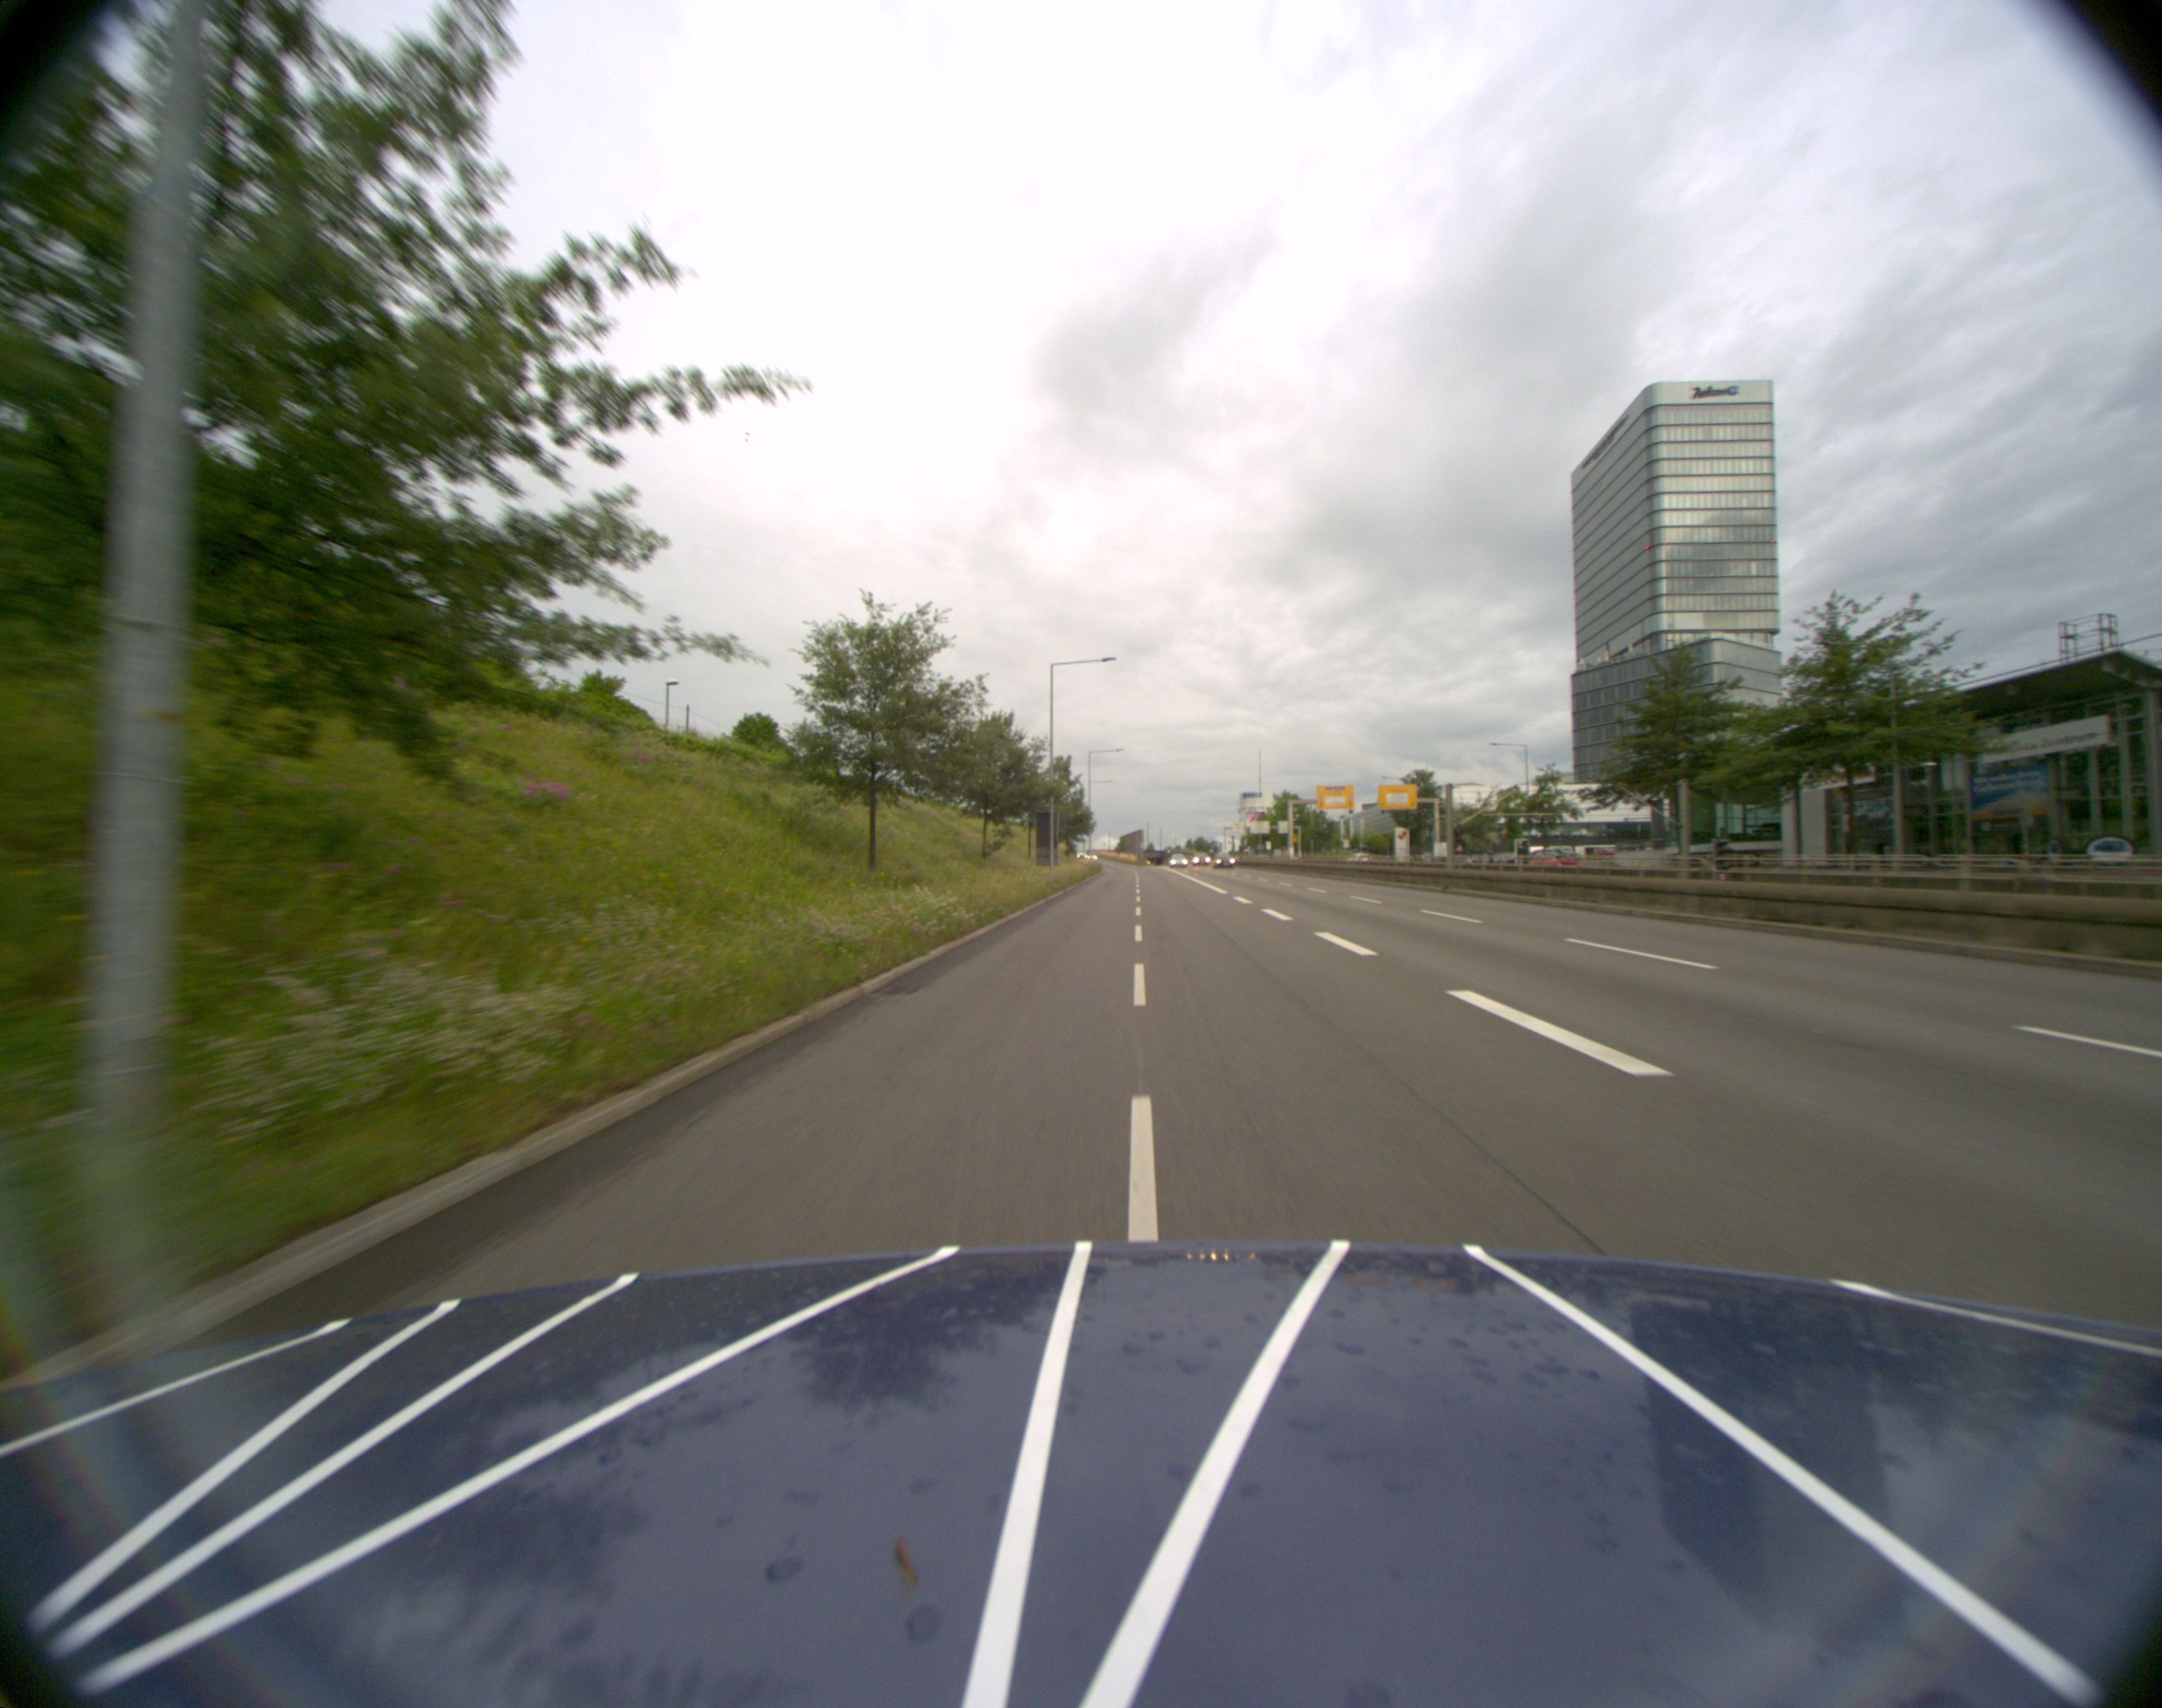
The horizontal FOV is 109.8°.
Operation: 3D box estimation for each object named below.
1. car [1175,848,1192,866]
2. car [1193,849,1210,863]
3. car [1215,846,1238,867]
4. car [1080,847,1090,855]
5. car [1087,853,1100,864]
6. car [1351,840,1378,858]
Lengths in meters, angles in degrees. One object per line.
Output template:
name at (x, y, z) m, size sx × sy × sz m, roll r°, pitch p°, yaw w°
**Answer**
car at (11.734, 0.323, 87.422) m, size 1.793 × 1.858 × 4.379 m, roll -2°, pitch 1°, yaw 7°
car at (14.760, 0.244, 93.070) m, size 1.793 × 1.535 × 4.379 m, roll -2°, pitch 1°, yaw 7°
car at (13.808, 0.210, 72.218) m, size 1.793 × 1.858 × 4.379 m, roll -2°, pitch 1°, yaw 7°
car at (0.776, -0.649, 155.669) m, size 1.794 × 1.621 × 4.378 m, roll -2°, pitch 1°, yaw 3°
car at (2.151, 0.758, 131.776) m, size 1.793 × 1.621 × 4.379 m, roll -2°, pitch 1°, yaw 7°
car at (31.192, -0.565, 83.719) m, size 1.793 × 1.858 × 4.379 m, roll -2°, pitch 1°, yaw 7°
